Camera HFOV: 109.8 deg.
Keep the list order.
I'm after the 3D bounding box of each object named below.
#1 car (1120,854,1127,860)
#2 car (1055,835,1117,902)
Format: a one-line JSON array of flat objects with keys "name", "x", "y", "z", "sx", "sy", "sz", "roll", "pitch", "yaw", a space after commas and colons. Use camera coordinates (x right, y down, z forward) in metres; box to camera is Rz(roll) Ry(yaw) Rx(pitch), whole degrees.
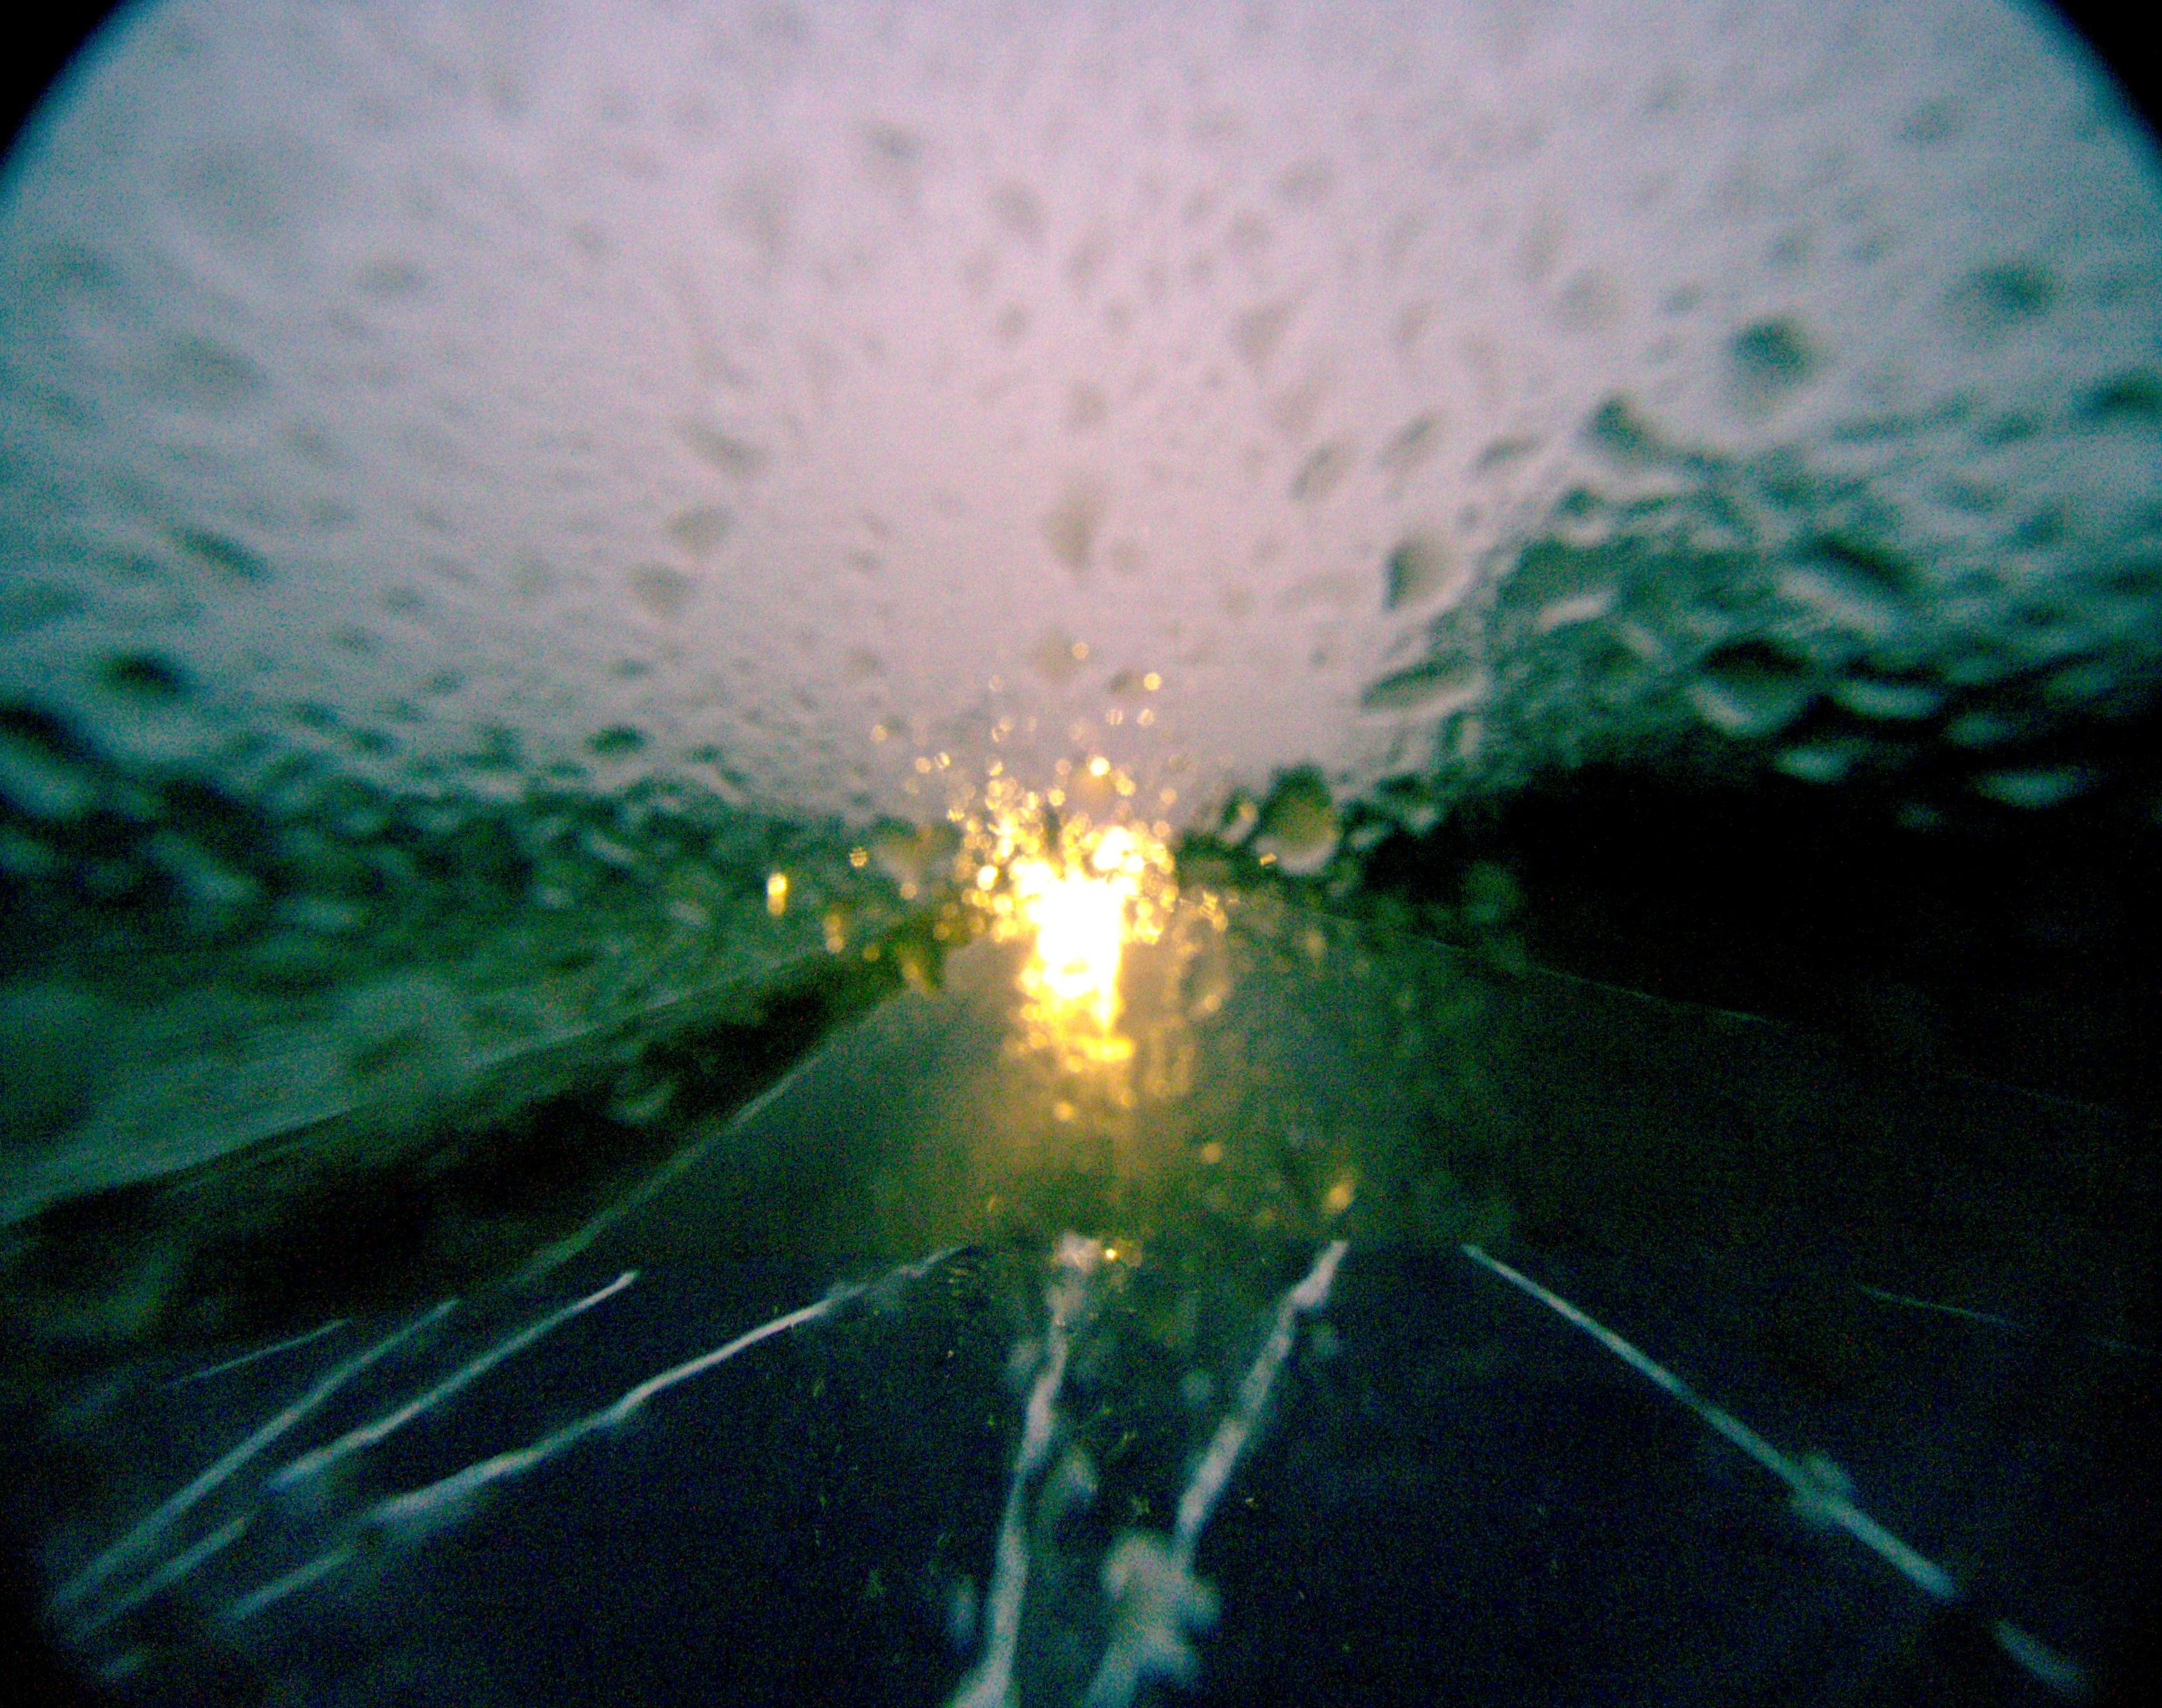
[{"name": "car", "x": 12.737, "y": 0.805, "z": 226.679, "sx": 1.912, "sy": 1.549, "sz": 3.929, "roll": -2, "pitch": 0, "yaw": 4}, {"name": "car", "x": 0.263, "y": 0.468, "z": 27.635, "sx": 1.952, "sy": 2.195, "sz": 4.535, "roll": -2, "pitch": 0, "yaw": 3}]
